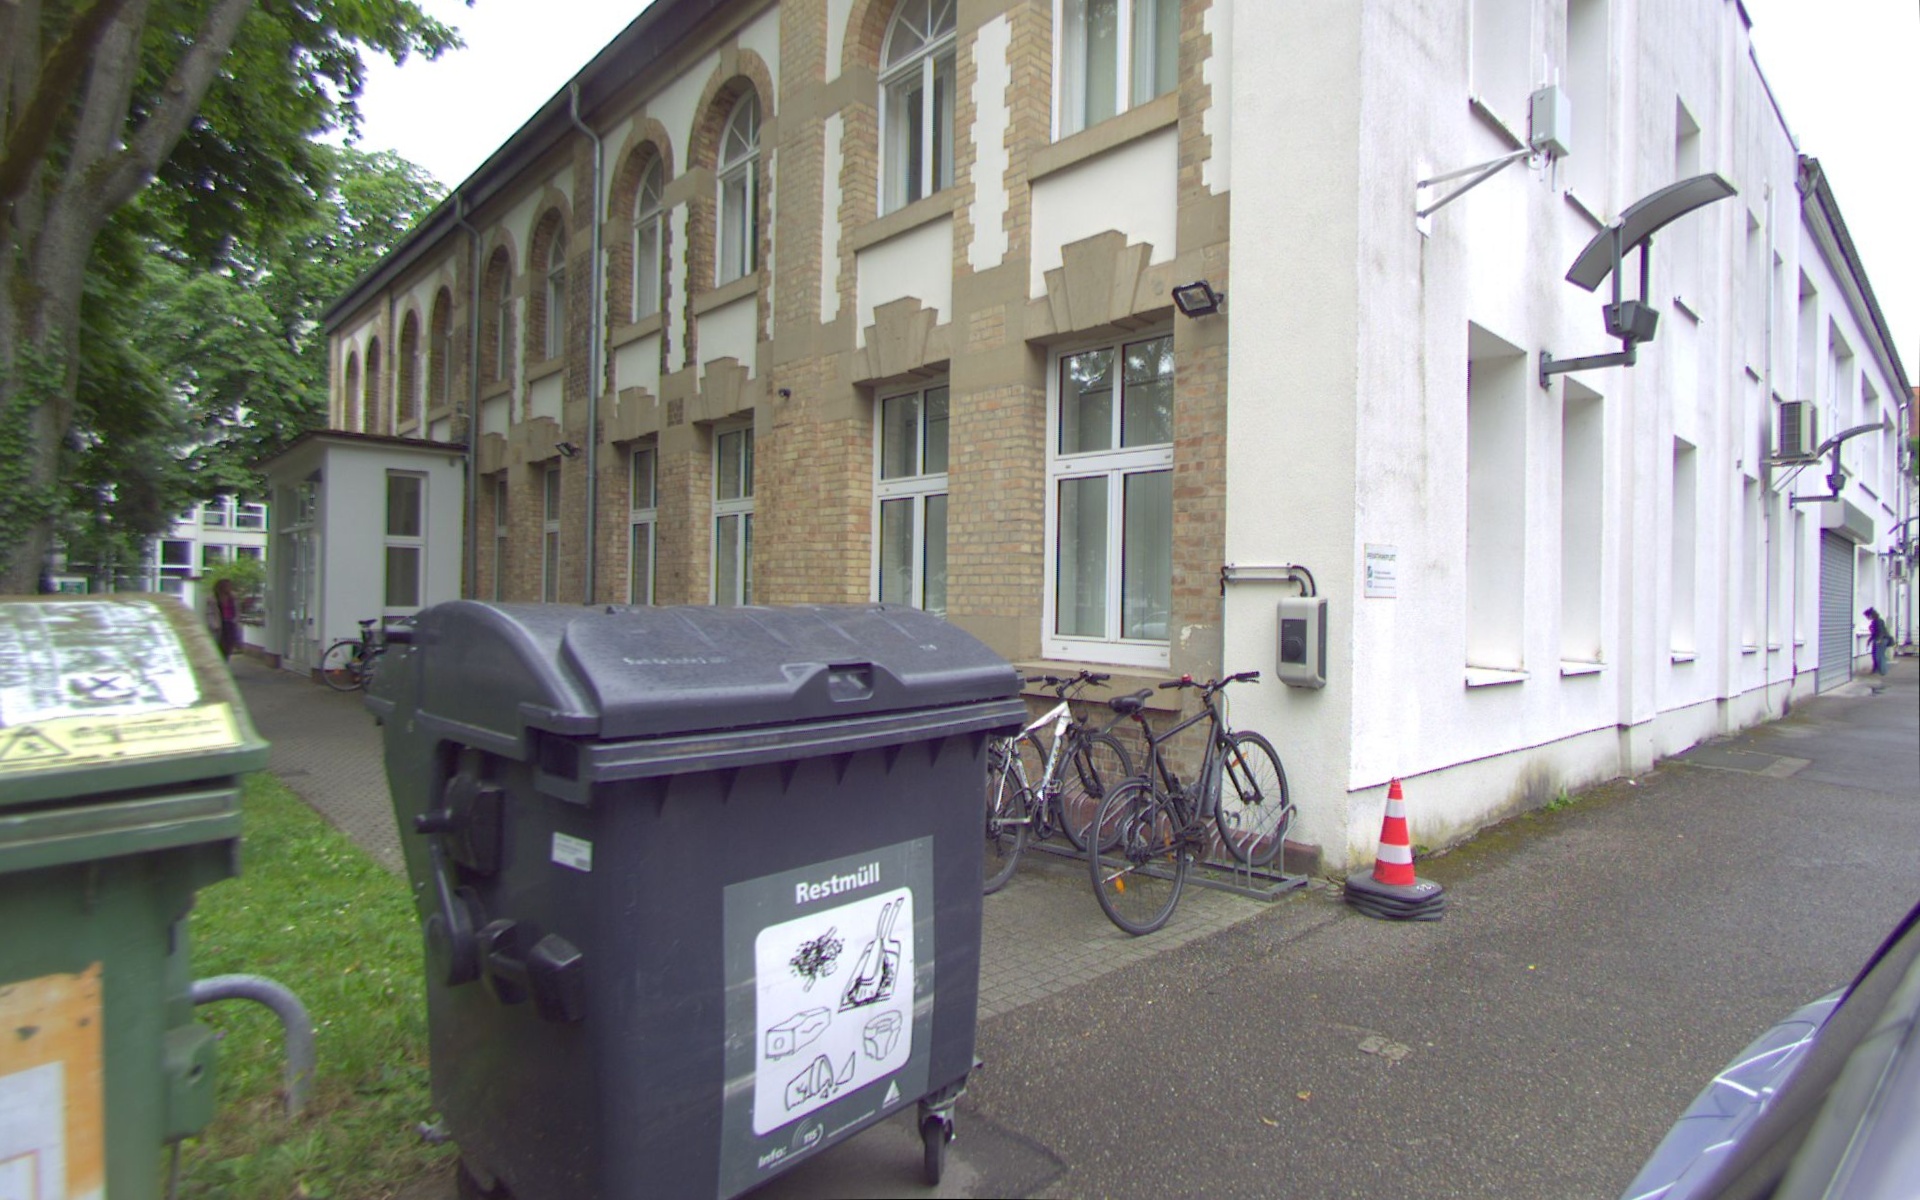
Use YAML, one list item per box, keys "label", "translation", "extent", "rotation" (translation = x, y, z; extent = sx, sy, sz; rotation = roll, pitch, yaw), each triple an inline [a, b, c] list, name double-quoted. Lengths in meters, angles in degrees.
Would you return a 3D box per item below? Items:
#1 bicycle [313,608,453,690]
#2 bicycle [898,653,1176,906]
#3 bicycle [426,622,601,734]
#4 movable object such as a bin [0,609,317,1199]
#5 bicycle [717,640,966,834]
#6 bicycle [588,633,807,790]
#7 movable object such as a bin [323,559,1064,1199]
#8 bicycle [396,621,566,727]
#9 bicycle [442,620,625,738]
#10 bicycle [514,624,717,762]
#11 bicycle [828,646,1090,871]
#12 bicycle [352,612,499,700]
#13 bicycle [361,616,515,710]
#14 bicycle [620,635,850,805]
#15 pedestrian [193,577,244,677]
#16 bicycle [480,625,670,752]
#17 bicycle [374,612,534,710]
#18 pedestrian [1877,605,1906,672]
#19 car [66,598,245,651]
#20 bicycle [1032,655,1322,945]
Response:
- label: "bicycle"
  translation: [-8.404, 0.688, 14.779]
  extent: [1.714, 1.129, 0.460]
  rotation: [0, 0, -42]
- label: "bicycle"
  translation: [0.480, 0.893, 5.565]
  extent: [1.714, 1.129, 0.460]
  rotation: [0, 0, -42]
- label: "bicycle"
  translation: [-4.926, 0.825, 11.248]
  extent: [1.714, 1.129, 0.460]
  rotation: [0, 0, -42]
- label: "movable object such as a bin"
  translation: [-1.686, 0.752, 1.192]
  extent: [1.104, 1.468, 1.307]
  rotation: [0, 0, 41]
- label: "bicycle"
  translation: [-0.763, 0.870, 6.927]
  extent: [1.713, 1.129, 0.460]
  rotation: [0, 0, -40]
- label: "bicycle"
  translation: [-2.108, 0.855, 8.293]
  extent: [1.714, 1.129, 0.460]
  rotation: [0, 0, -42]
- label: "movable object such as a bin"
  translation: [-0.589, 0.670, 2.441]
  extent: [1.104, 1.468, 1.342]
  rotation: [0, 0, 41]
- label: "bicycle"
  translation: [-5.536, 0.820, 11.761]
  extent: [1.714, 1.129, 0.460]
  rotation: [0, 0, -42]
- label: "bicycle"
  translation: [-4.472, 0.790, 10.692]
  extent: [1.714, 1.129, 0.460]
  rotation: [0, 0, -42]
- label: "bicycle"
  translation: [-3.128, 0.803, 9.307]
  extent: [1.714, 1.129, 0.460]
  rotation: [0, 0, -42]
- label: "bicycle"
  translation: [0.046, 0.878, 6.139]
  extent: [1.714, 1.129, 0.460]
  rotation: [0, 0, -42]
- label: "bicycle"
  translation: [-7.304, 0.737, 13.888]
  extent: [1.714, 1.129, 0.460]
  rotation: [0, 0, -42]
- label: "bicycle"
  translation: [-6.741, 0.782, 13.131]
  extent: [1.714, 1.129, 0.460]
  rotation: [0, 0, -42]
- label: "bicycle"
  translation: [-1.683, 0.861, 7.771]
  extent: [1.714, 1.129, 0.460]
  rotation: [0, 0, -42]
- label: "pedestrian"
  translation: [-12.318, 0.434, 16.809]
  extent: [0.594, 1.607, 0.626]
  rotation: [1, 0, -44]
- label: "bicycle"
  translation: [-3.792, 0.837, 10.066]
  extent: [1.714, 1.129, 0.460]
  rotation: [0, 0, -42]
- label: "bicycle"
  translation: [-6.242, 0.717, 12.550]
  extent: [1.714, 1.129, 0.460]
  rotation: [0, 0, -42]
- label: "pedestrian"
  translation: [22.399, 0.917, 24.334]
  extent: [0.497, 1.582, 0.422]
  rotation: [0, 0, 43]
- label: "car"
  translation: [-23.343, 0.661, 29.525]
  extent: [1.786, 1.371, 3.793]
  rotation: [1, 1, 15]
- label: "bicycle"
  translation: [1.119, 0.872, 4.958]
  extent: [1.714, 1.129, 0.460]
  rotation: [0, 0, -42]
